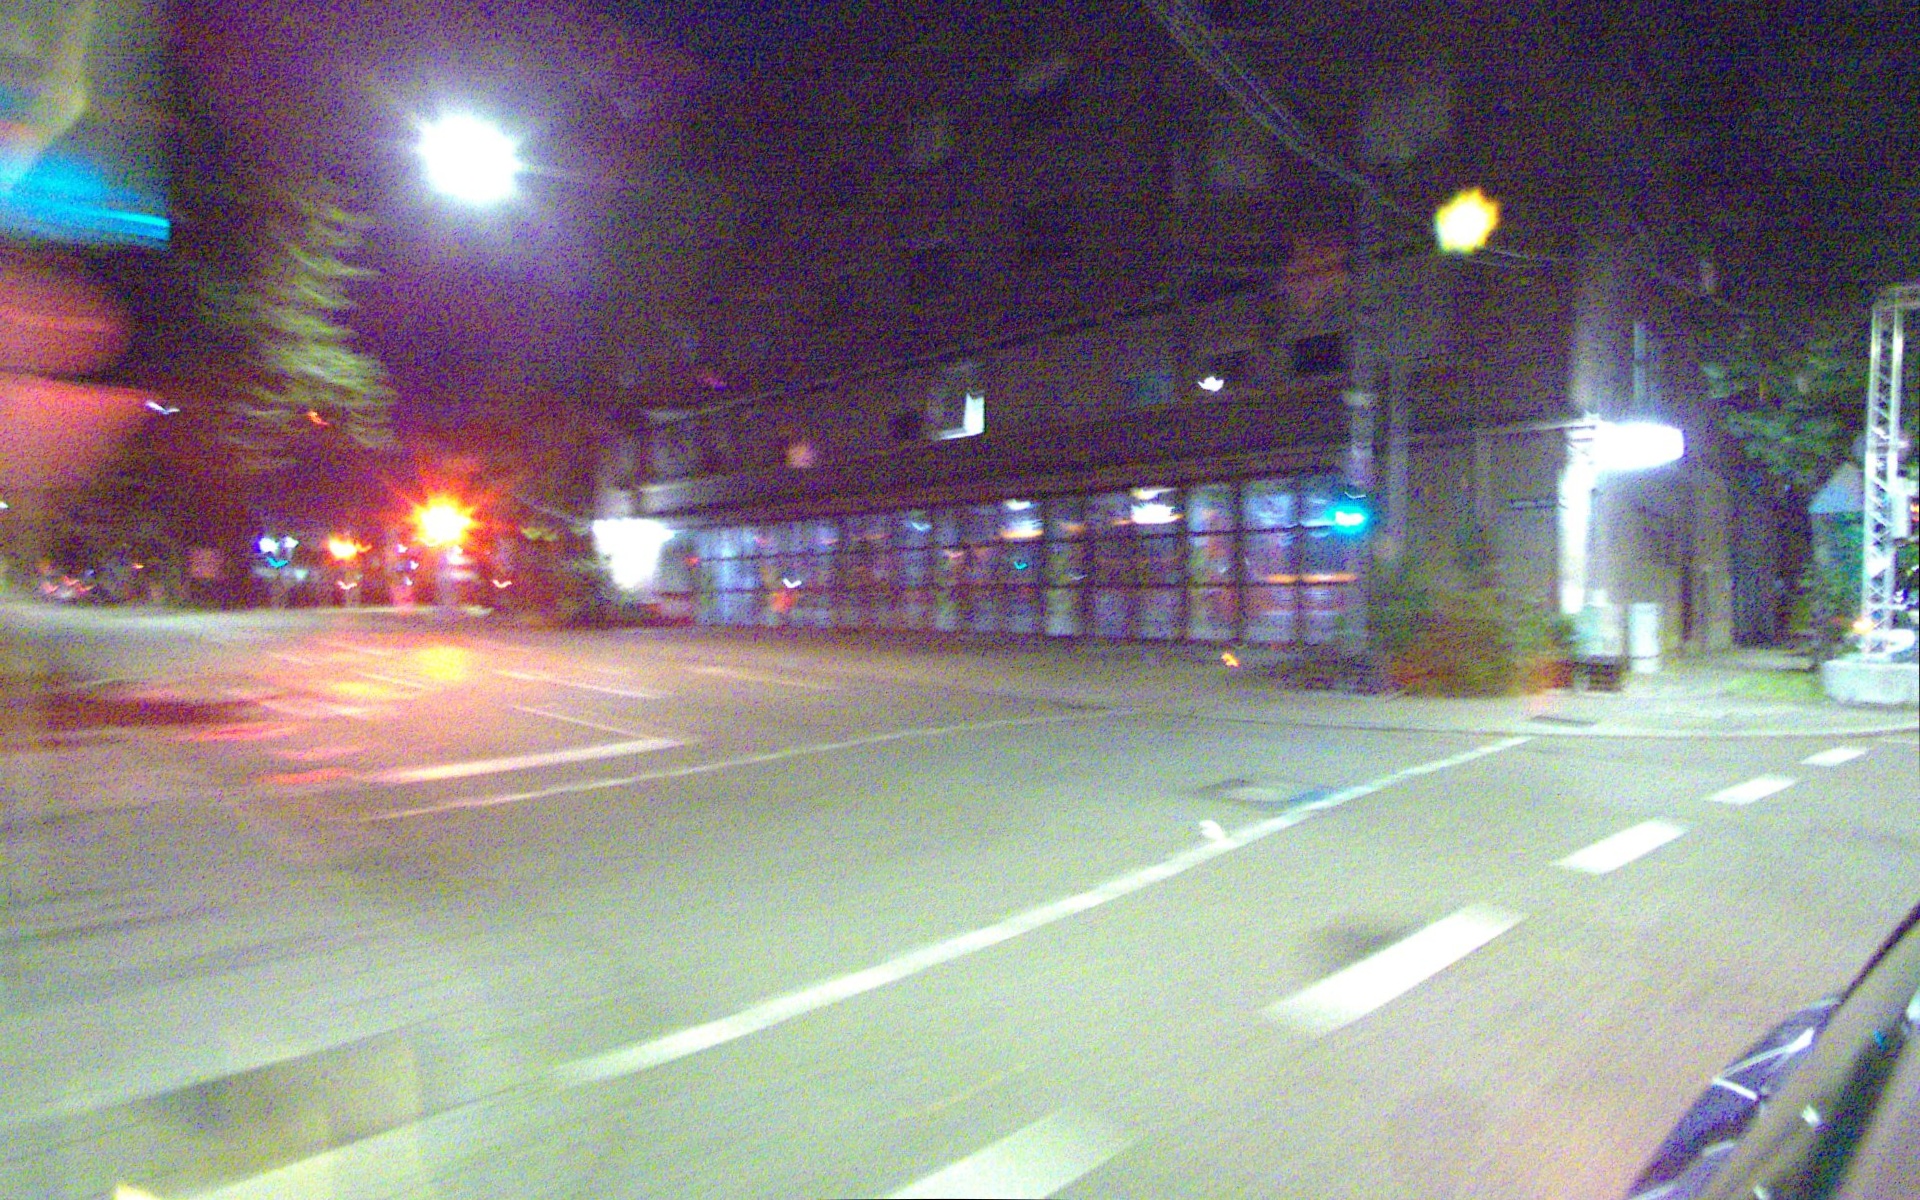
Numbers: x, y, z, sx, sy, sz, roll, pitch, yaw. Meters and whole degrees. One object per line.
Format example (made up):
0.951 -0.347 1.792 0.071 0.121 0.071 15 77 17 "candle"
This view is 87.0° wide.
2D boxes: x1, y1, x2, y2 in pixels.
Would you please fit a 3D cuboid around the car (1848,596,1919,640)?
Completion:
31.670 0.582 34.556 1.777 1.376 4.351 2 1 44 "car"

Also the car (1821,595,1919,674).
18.902 0.653 20.691 3.733 1.480 1.588 0 -1 -44 "car"

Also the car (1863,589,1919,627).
44.573 0.356 48.473 1.928 1.686 3.717 1 1 42 "car"

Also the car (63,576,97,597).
-68.649 -1.084 78.906 4.192 1.592 1.694 1 1 45 "car"

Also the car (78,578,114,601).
-62.653 -0.777 73.359 4.192 1.592 1.694 1 1 45 "car"

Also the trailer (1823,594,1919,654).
24.842 0.609 27.526 3.669 1.514 1.602 0 -1 -42 "trailer"

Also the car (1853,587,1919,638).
34.936 0.423 38.156 1.774 1.795 4.357 1 1 40 "car"
